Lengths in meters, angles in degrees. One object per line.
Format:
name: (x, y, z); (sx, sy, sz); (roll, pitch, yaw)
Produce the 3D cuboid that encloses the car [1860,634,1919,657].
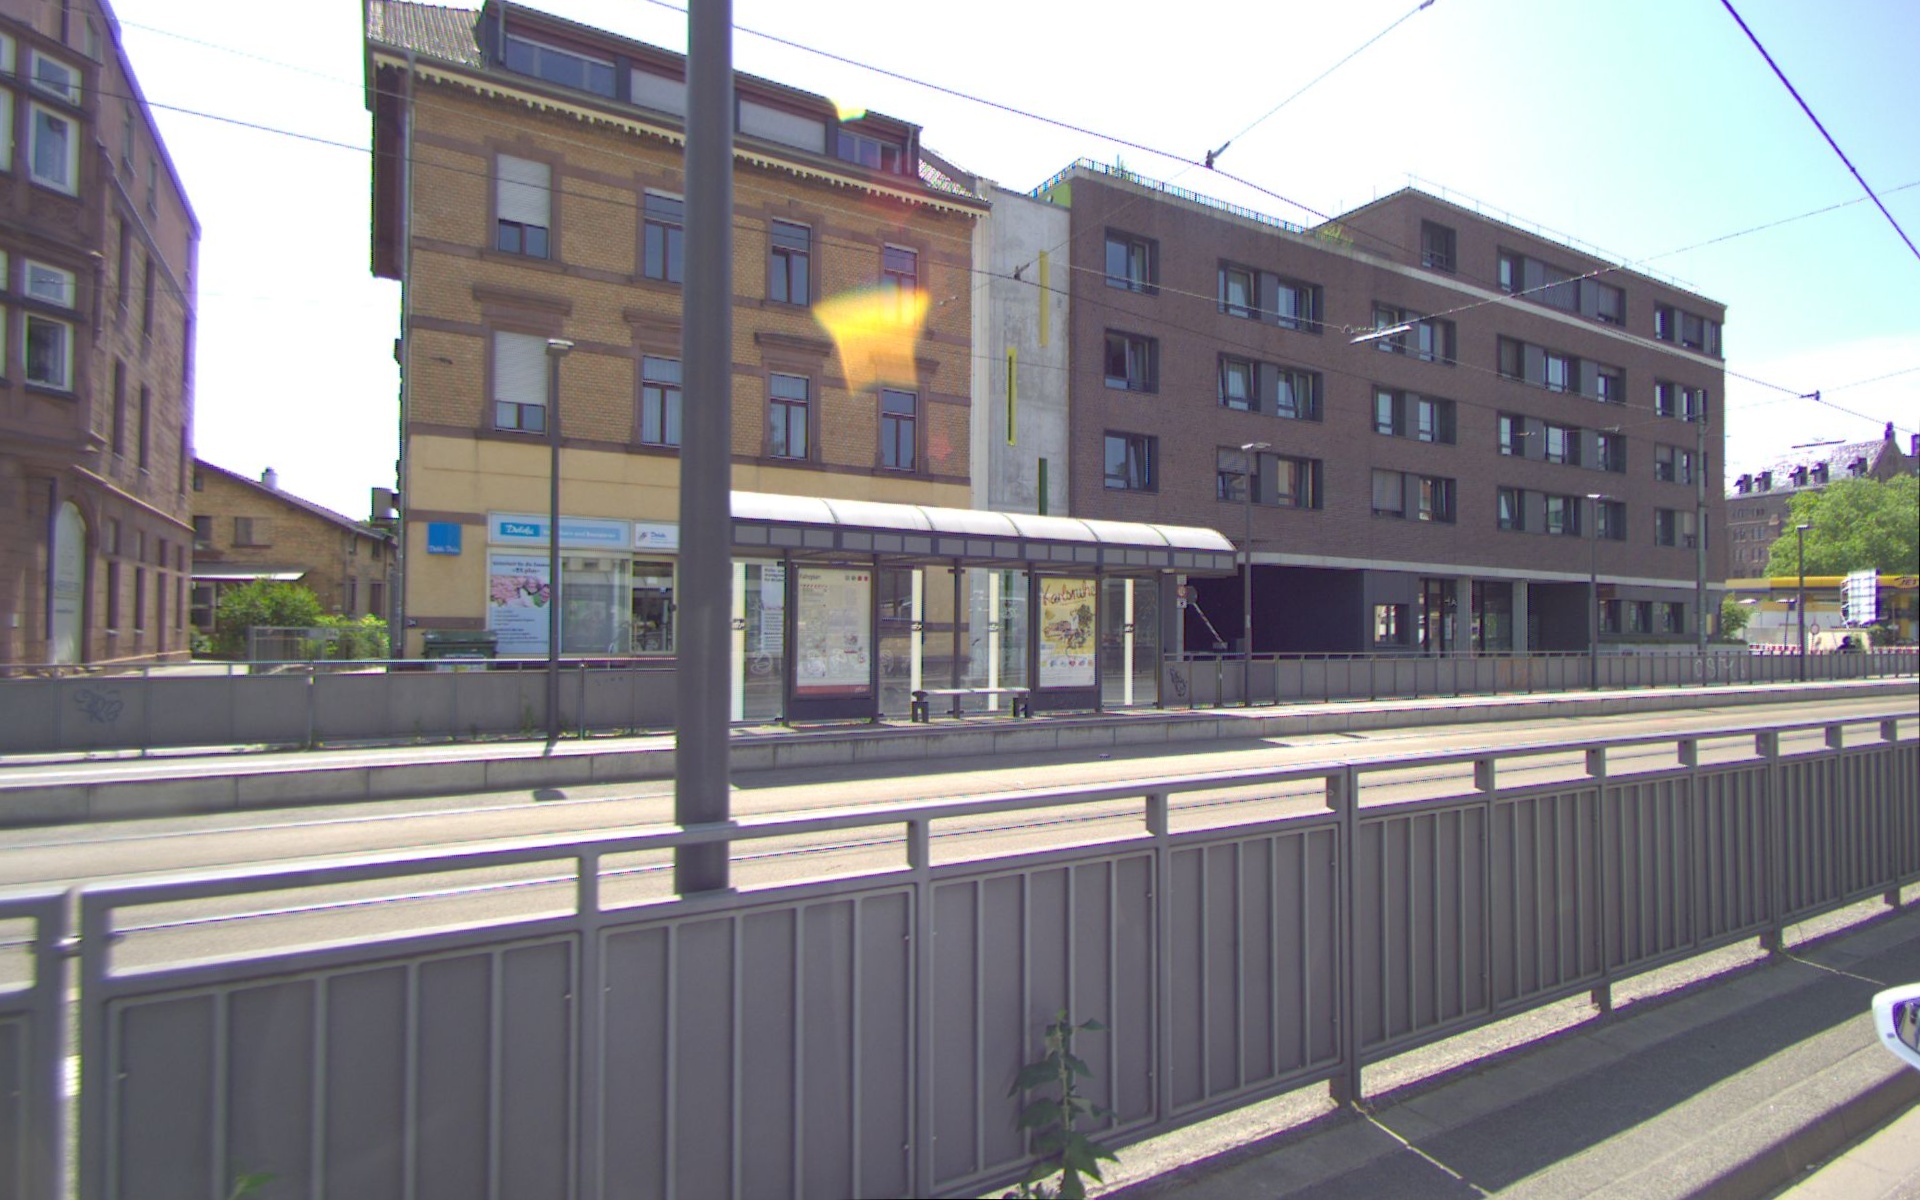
car: (69.423, 3.376, 74.652); (4.129, 1.525, 1.826); (0, 0, -15)
